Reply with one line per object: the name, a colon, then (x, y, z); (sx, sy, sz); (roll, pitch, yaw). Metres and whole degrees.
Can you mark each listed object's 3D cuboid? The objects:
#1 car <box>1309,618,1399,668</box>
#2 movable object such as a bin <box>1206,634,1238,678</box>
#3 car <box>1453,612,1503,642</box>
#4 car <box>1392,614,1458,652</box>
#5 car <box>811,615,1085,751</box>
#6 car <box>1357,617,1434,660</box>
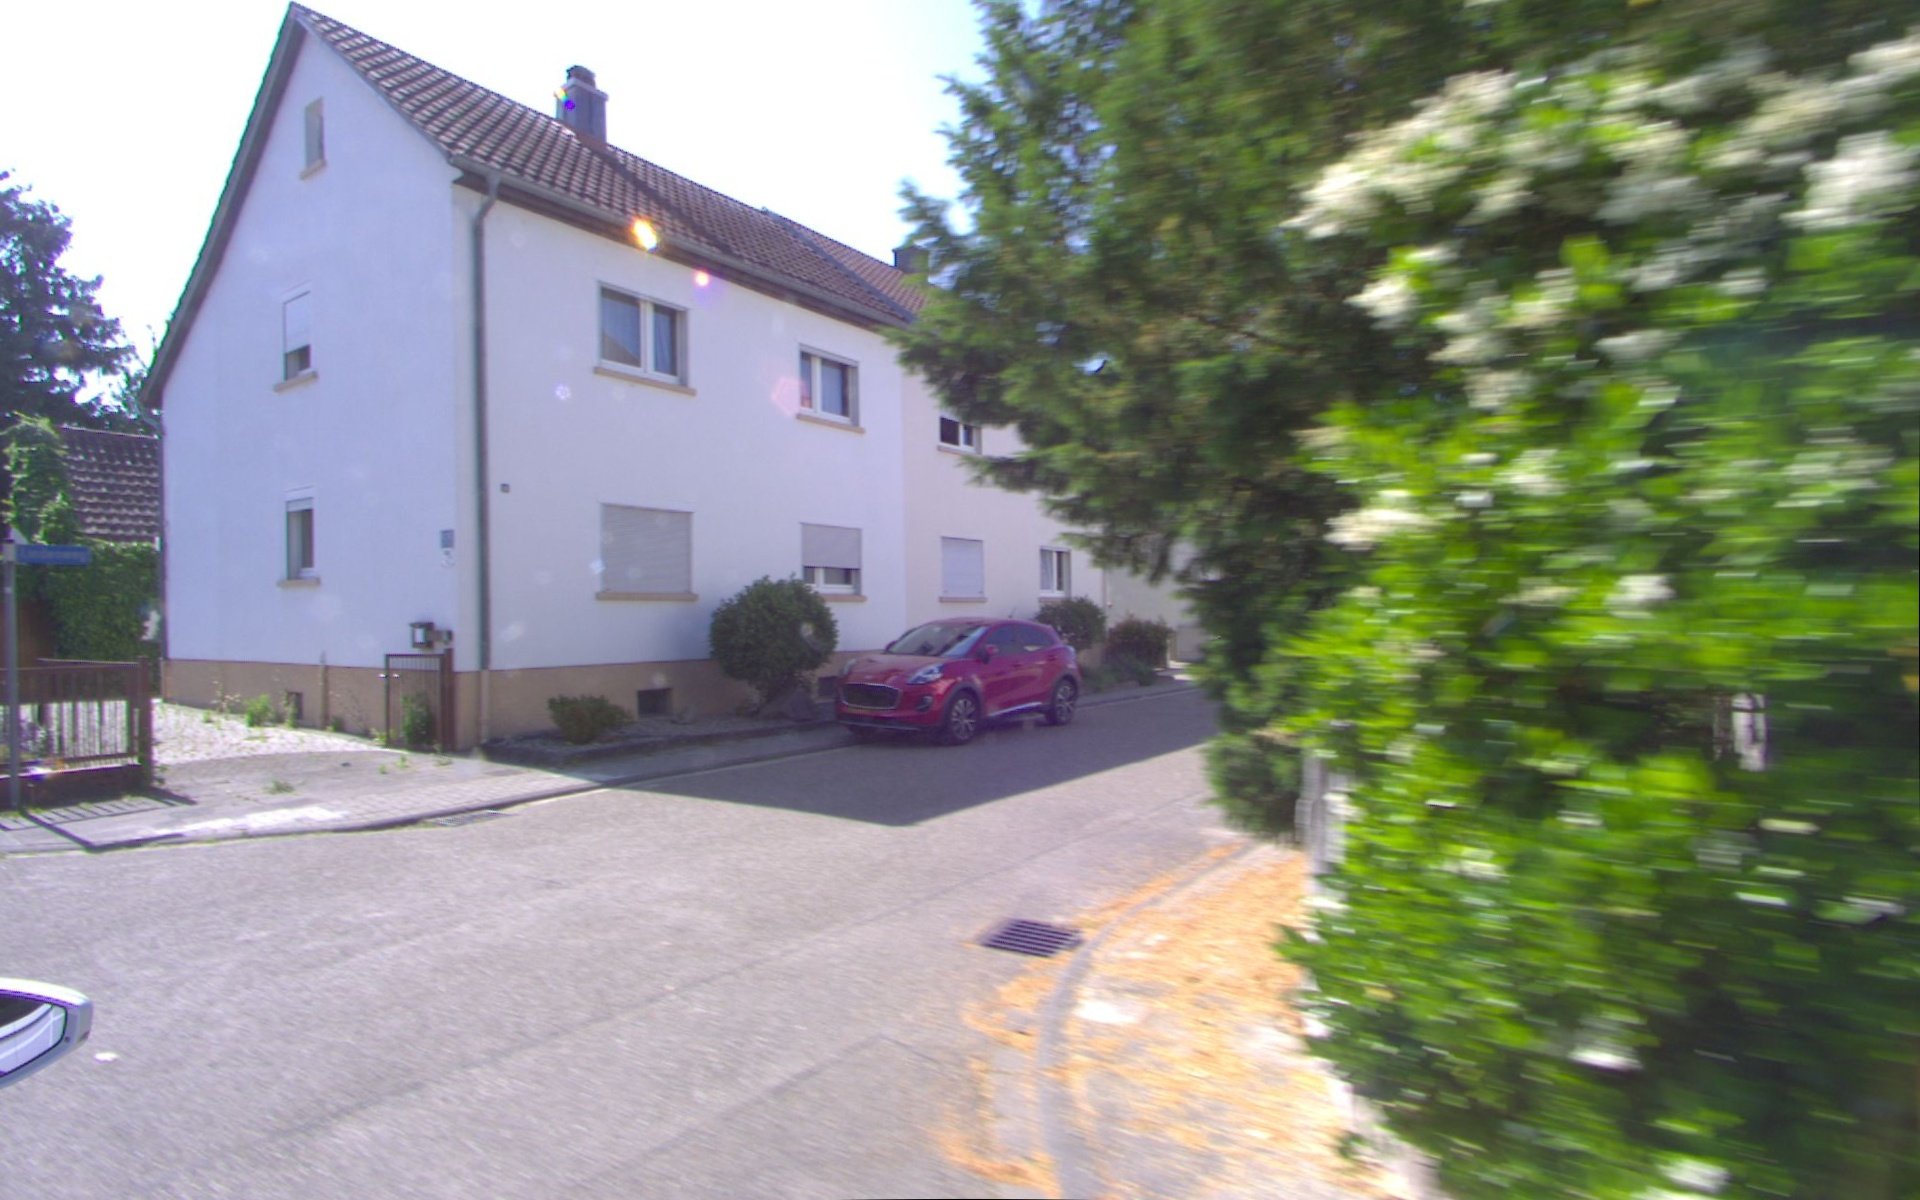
car: (12.400, 1.296, 31.368); (1.773, 1.429, 3.975); (-1, -1, 35)
movable object such as a bin: (6.424, 1.365, 24.512); (0.596, 1.043, 0.559); (0, 0, 36)
car: (26.453, 1.349, 51.095); (1.773, 1.429, 3.975); (-1, -1, 35)
car: (18.594, 1.267, 39.964); (1.773, 1.429, 3.975); (-1, -1, 35)
car: (-0.014, 0.987, 13.603); (1.773, 1.550, 3.975); (-1, -1, 35)
car: (15.451, 1.316, 35.438); (1.773, 1.429, 3.975); (-1, -1, 35)
